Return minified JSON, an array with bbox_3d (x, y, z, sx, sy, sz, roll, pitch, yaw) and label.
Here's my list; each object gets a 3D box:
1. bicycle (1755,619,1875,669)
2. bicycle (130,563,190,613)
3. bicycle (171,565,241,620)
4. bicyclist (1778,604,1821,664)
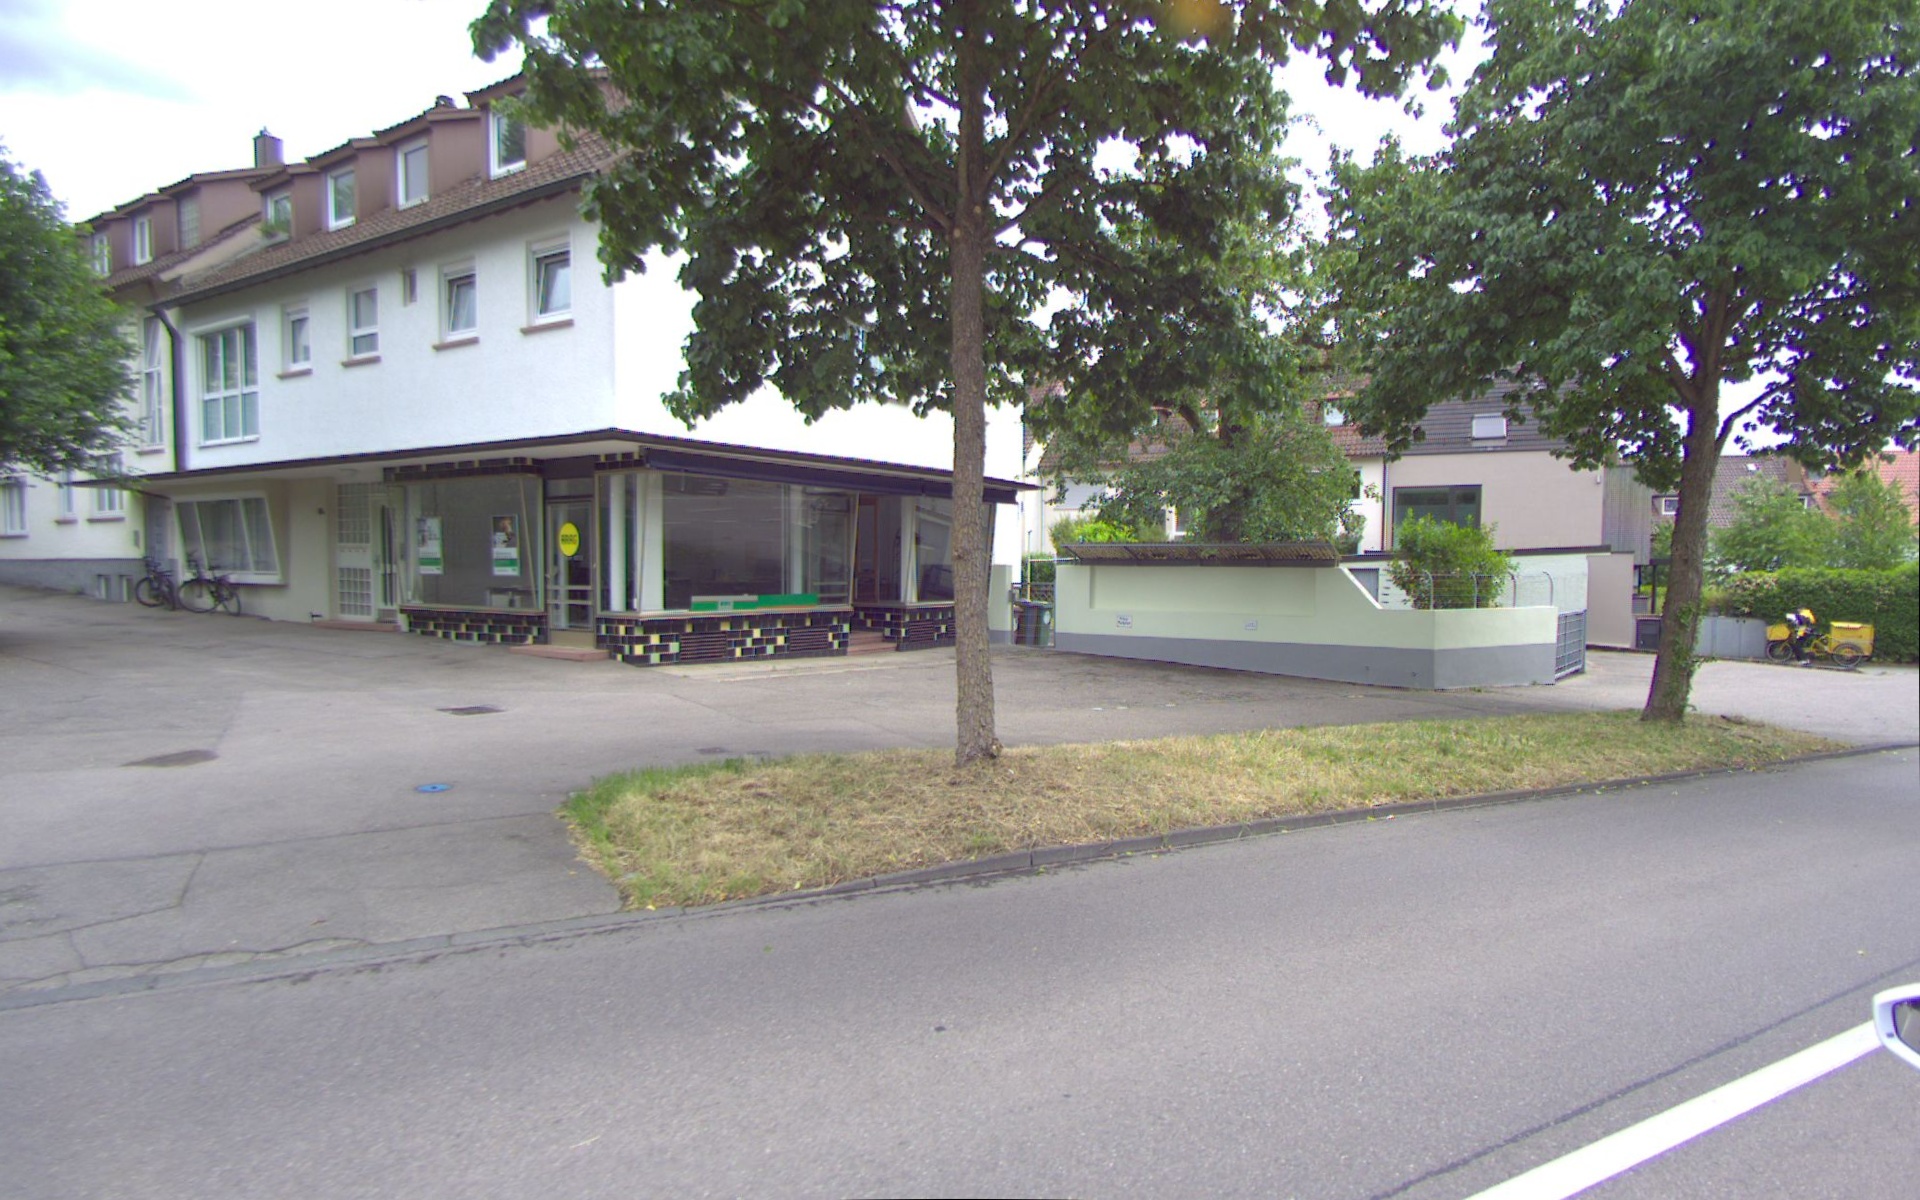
[{"bbox_3d":[25.241,1.277,29.720,2.612,1.283,0.843,3,2,41],"label":"bicycle"},{"bbox_3d":[-15.777,-0.244,19.804,1.382,0.896,0.634,5,4,38],"label":"bicycle"},{"bbox_3d":[-14.090,-0.158,18.757,1.619,0.925,0.658,5,4,38],"label":"bicycle"},{"bbox_3d":[24.859,1.000,29.754,0.838,1.720,0.707,0,2,-33],"label":"bicyclist"}]
